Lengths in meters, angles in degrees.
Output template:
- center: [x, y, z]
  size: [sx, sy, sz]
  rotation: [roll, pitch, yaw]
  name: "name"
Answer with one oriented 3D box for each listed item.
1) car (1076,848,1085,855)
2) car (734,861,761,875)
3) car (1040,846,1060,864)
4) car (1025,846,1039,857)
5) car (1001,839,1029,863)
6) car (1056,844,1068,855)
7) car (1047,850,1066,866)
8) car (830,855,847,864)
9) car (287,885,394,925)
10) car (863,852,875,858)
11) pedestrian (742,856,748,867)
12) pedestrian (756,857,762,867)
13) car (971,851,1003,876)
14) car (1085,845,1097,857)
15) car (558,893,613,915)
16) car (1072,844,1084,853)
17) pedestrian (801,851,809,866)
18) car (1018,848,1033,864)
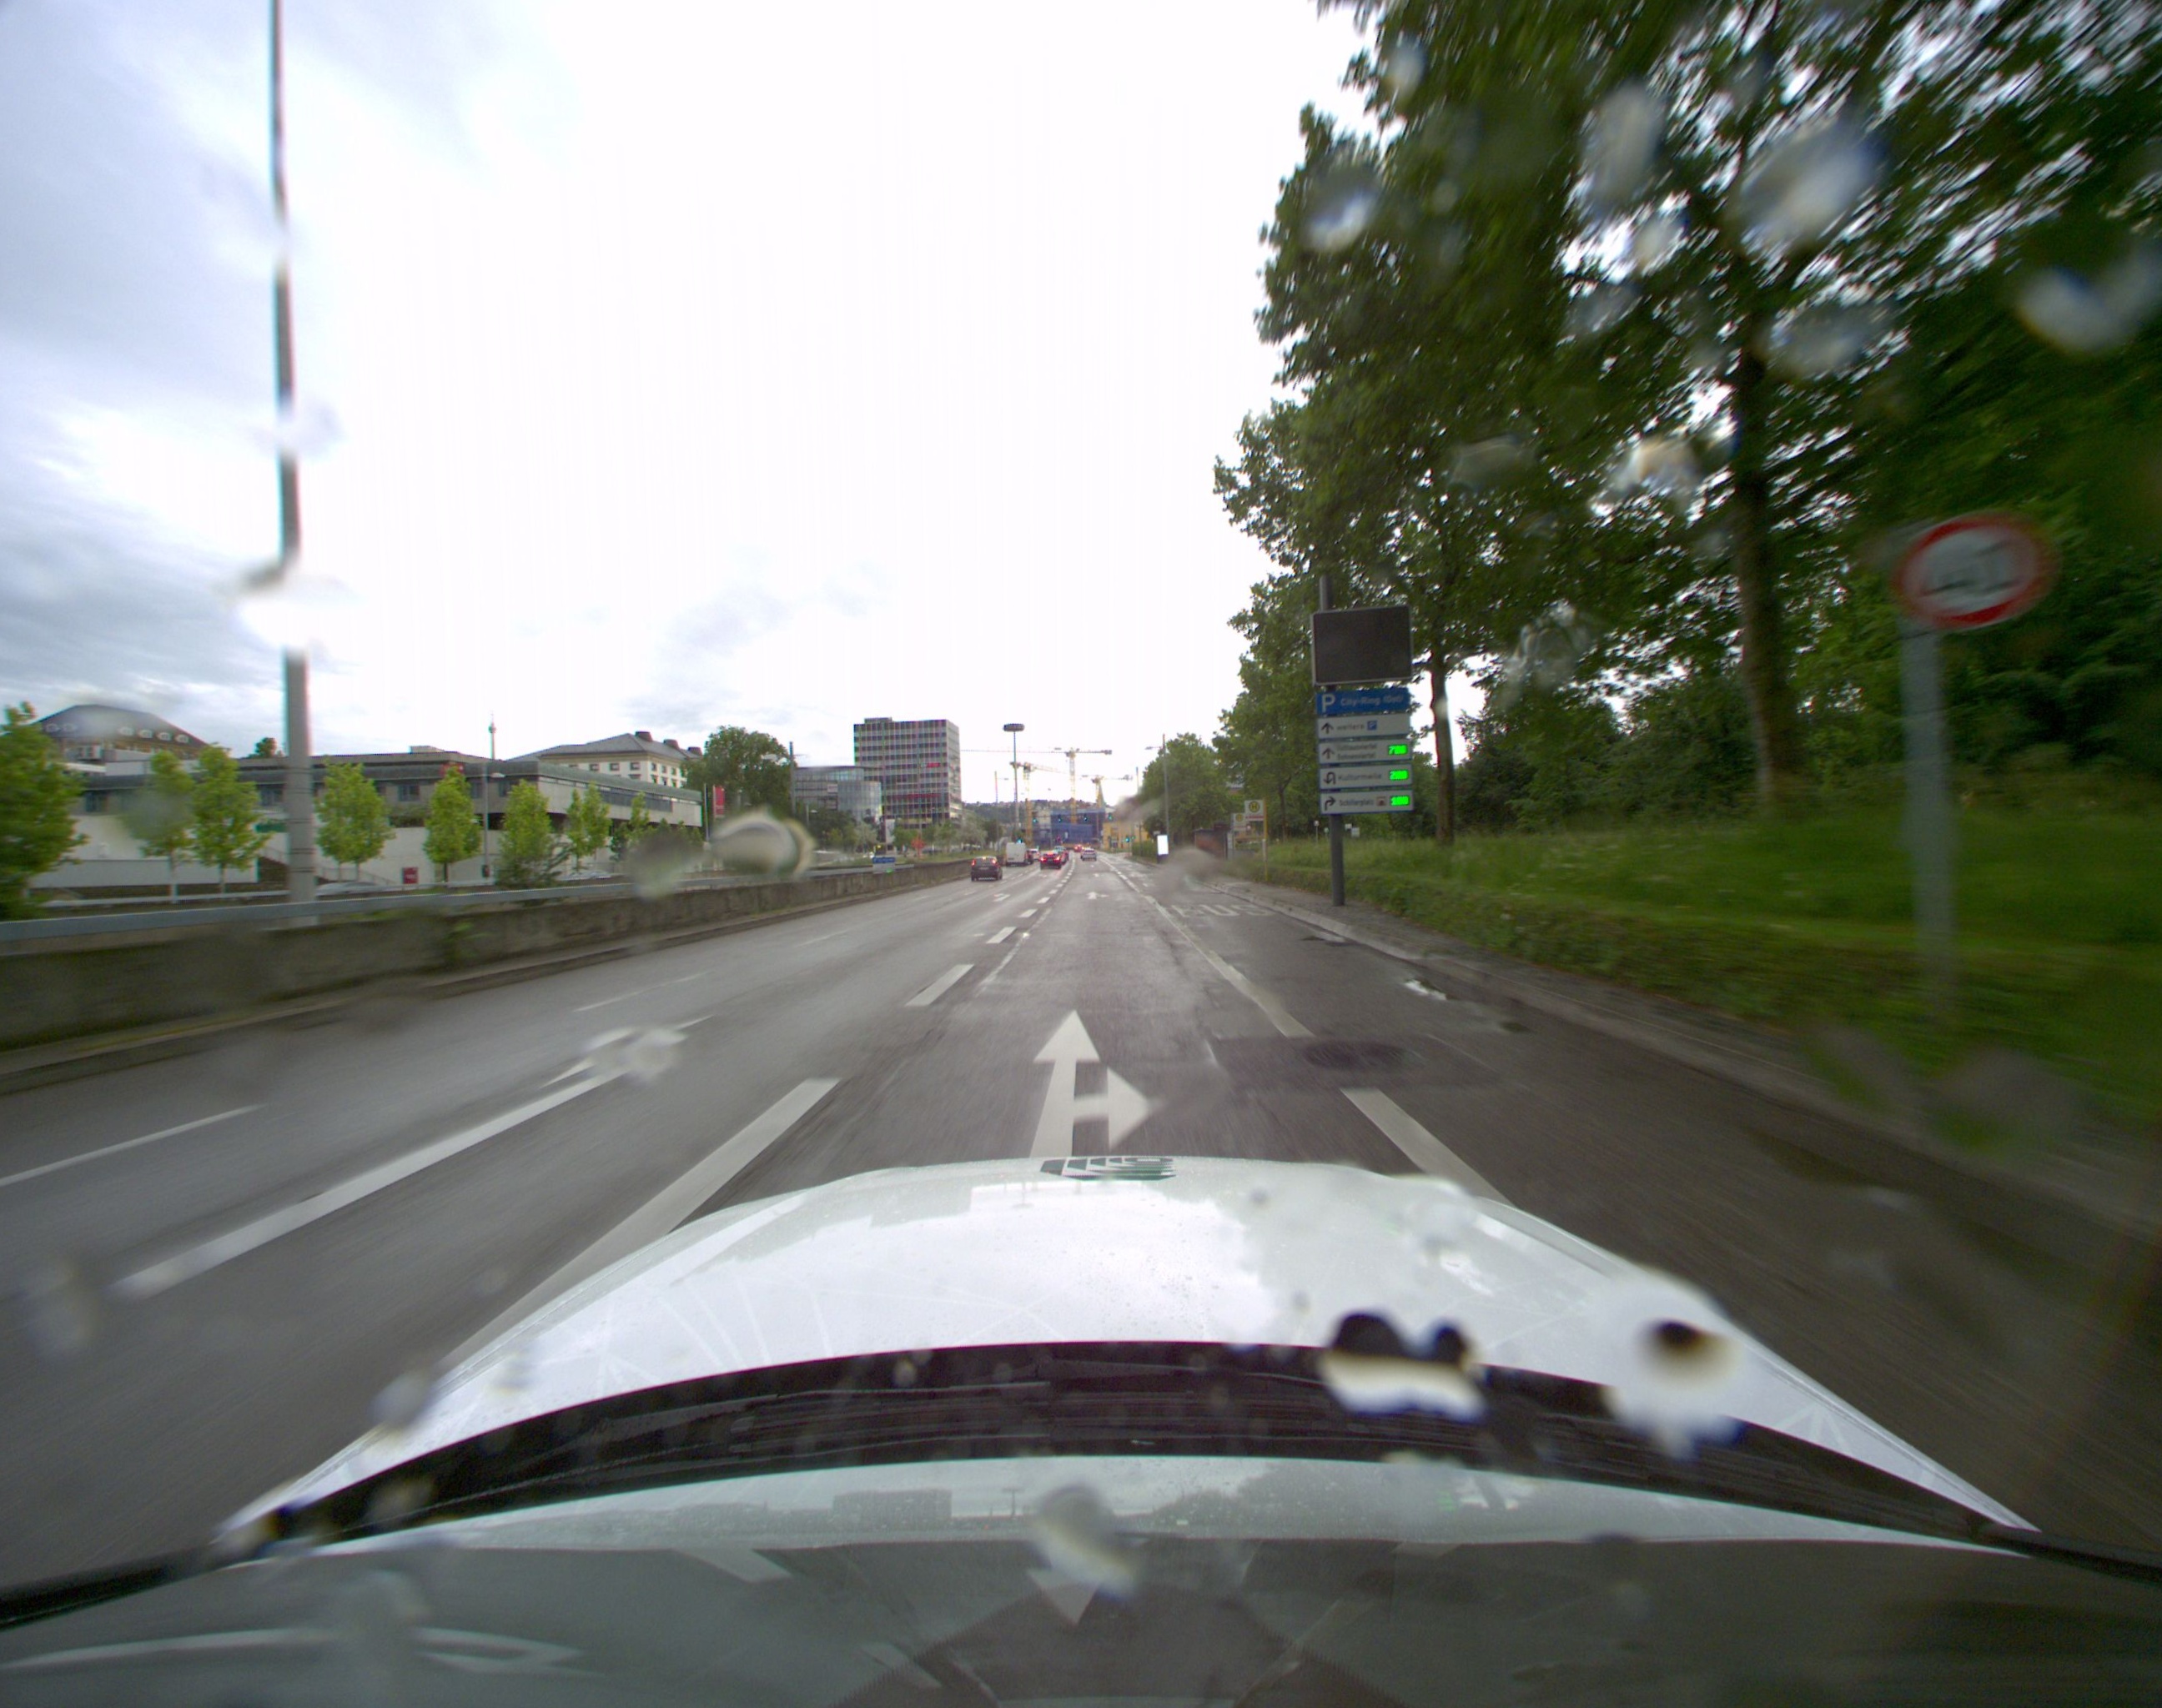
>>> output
- center: [-0.050, -0.331, 110.471]
  size: [1.072, 0.990, 1.973]
  rotation: [-1, -2, 3]
  name: "car"
- center: [-33.363, 1.393, 81.486]
  size: [1.460, 1.440, 2.962]
  rotation: [-1, -1, 0]
  name: "car"
- center: [-2.710, 0.098, 71.925]
  size: [1.748, 1.471, 4.220]
  rotation: [-1, 1, -1]
  name: "car"
- center: [-5.935, -0.341, 99.693]
  size: [1.546, 1.260, 2.579]
  rotation: [-1, -1, 0]
  name: "car"
- center: [-6.501, -0.252, 81.053]
  size: [2.285, 2.314, 5.005]
  rotation: [-1, -1, 0]
  name: "car"
- center: [-2.391, -0.541, 102.870]
  size: [1.489, 1.369, 3.032]
  rotation: [-1, -1, 0]
  name: "car"
- center: [-2.598, 0.398, 86.064]
  size: [1.876, 1.653, 3.454]
  rotation: [-1, -1, -3]
  name: "car"
- center: [-36.622, 0.846, 123.124]
  size: [1.402, 1.255, 3.168]
  rotation: [-1, -1, 3]
  name: "car"
- center: [-33.038, 2.240, 36.483]
  size: [1.690, 1.556, 3.472]
  rotation: [-1, -1, -3]
  name: "car"
- center: [-37.506, 0.167, 144.262]
  size: [1.436, 1.114, 3.019]
  rotation: [-1, -1, -1]
  name: "car"
- center: [-41.914, 0.945, 101.675]
  size: [0.465, 1.383, 0.577]
  rotation: [-1, -1, 0]
  name: "pedestrian"
- center: [-43.603, 1.061, 110.395]
  size: [0.489, 1.423, 0.634]
  rotation: [-1, -1, 7]
  name: "pedestrian"
- center: [-5.670, 0.567, 49.514]
  size: [1.538, 1.415, 3.900]
  rotation: [-1, -1, -1]
  name: "car"
- center: [1.226, -0.336, 99.937]
  size: [1.438, 1.359, 2.414]
  rotation: [-1, -1, 3]
  name: "car"
- center: [-29.712, 2.988, 48.927]
  size: [1.483, 1.129, 3.050]
  rotation: [-1, -1, -1]
  name: "car"
- center: [-0.536, -1.124, 166.051]
  size: [2.153, 1.879, 3.773]
  rotation: [-1, -1, 3]
  name: "car"
- center: [-40.030, 0.591, 118.127]
  size: [0.729, 2.090, 0.761]
  rotation: [-4, 6, -35]
  name: "pedestrian"
- center: [-5.912, 0.198, 87.566]
  size: [1.460, 1.706, 3.138]
  rotation: [-1, -1, -2]
  name: "car"
